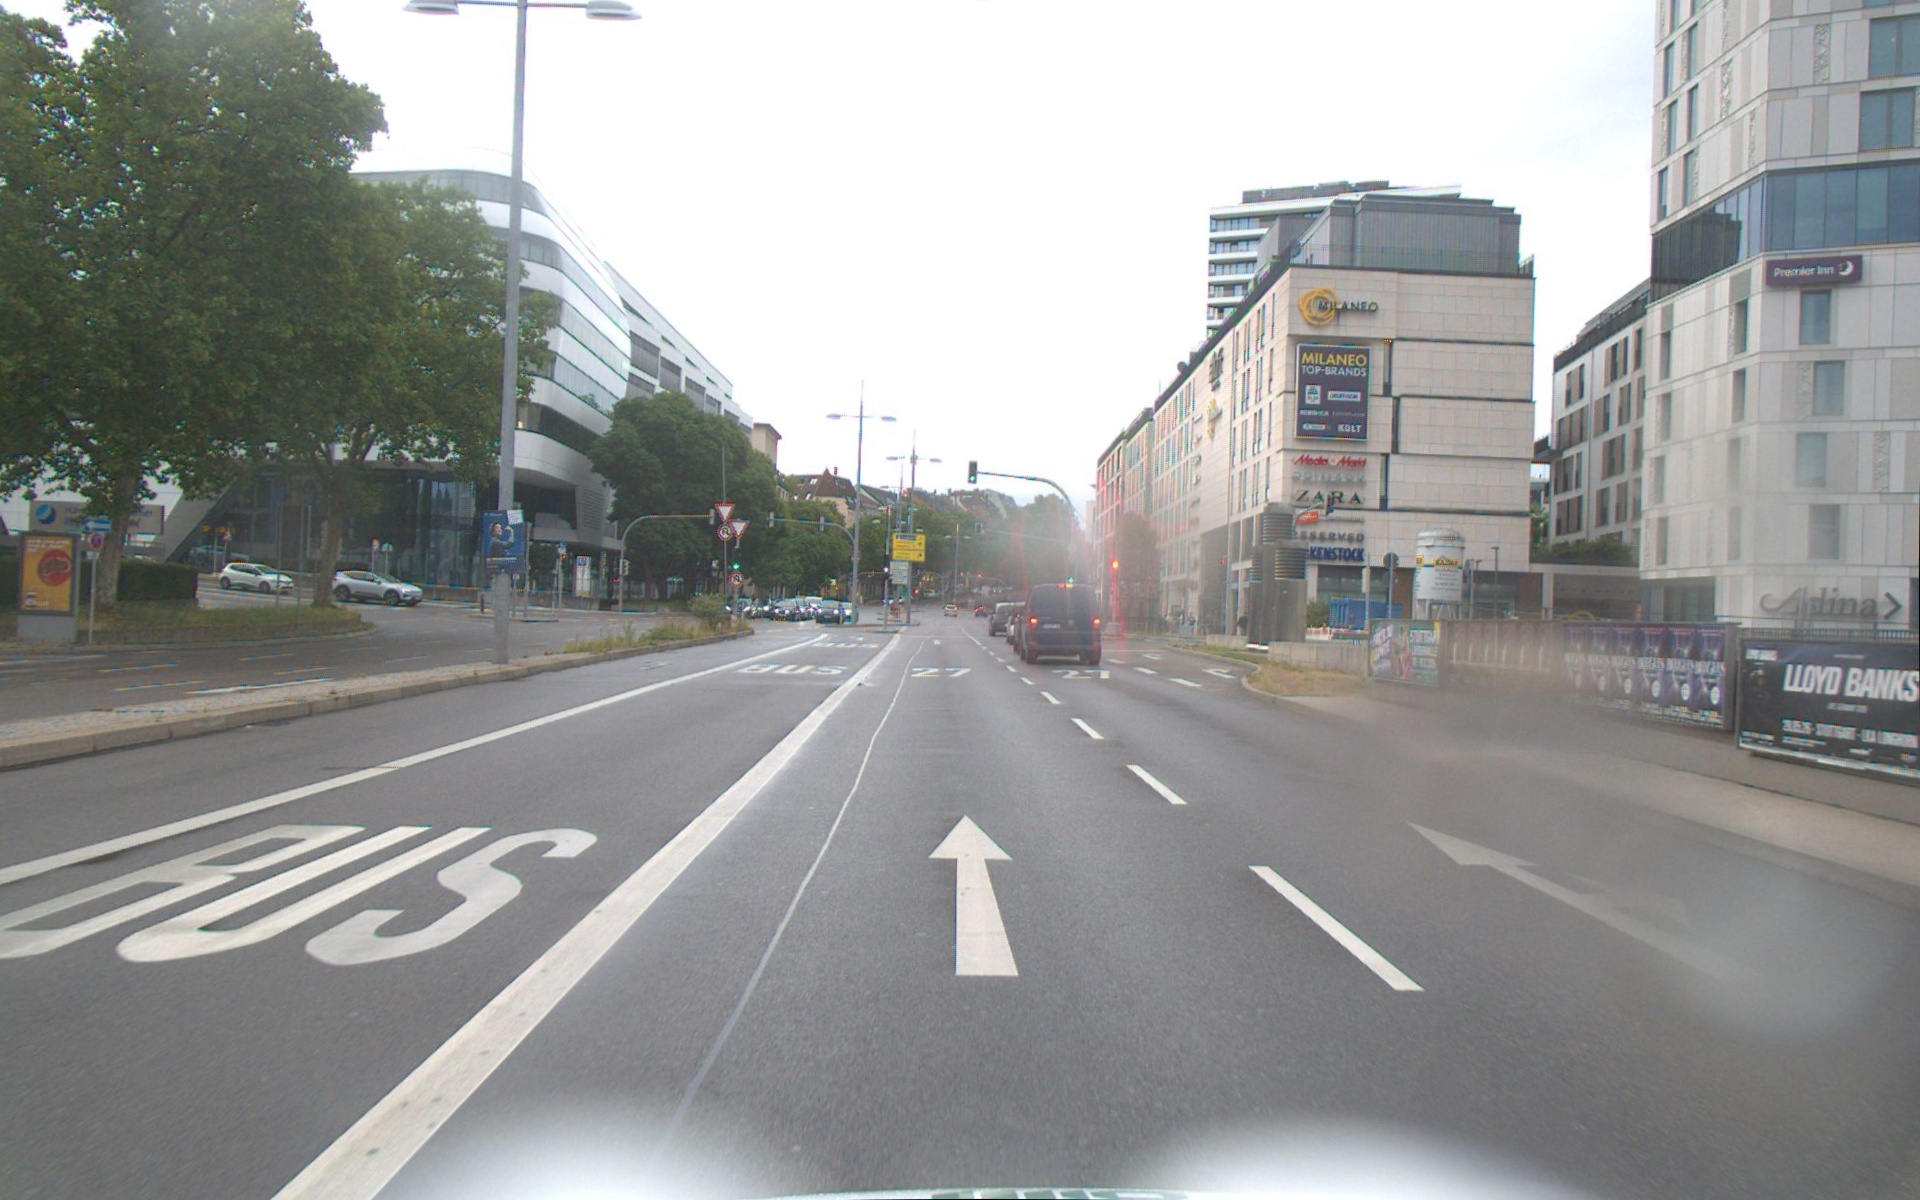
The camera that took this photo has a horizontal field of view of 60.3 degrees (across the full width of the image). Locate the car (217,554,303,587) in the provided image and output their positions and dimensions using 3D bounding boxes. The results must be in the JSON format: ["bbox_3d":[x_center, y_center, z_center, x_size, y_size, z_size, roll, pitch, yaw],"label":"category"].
[{"bbox_3d":[-37.647,-1.582,89.022,3.902,1.660,1.896,1,-1,16],"label":"car"}]

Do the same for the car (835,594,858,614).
[{"bbox_3d":[-8.947,0.335,130.389,1.507,1.503,3.695,1,-1,0],"label":"car"}]

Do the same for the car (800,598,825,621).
[{"bbox_3d":[-12.084,0.768,135.313,1.707,1.779,3.539,1,-1,0],"label":"car"}]

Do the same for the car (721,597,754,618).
[{"bbox_3d":[-15.280,0.510,113.729,1.707,1.352,4.225,1,-1,0],"label":"car"}]

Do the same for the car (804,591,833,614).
[{"bbox_3d":[-9.670,0.180,113.265,1.707,1.470,3.394,1,-1,0],"label":"car"}]

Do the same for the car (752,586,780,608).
[{"bbox_3d":[-14.924,-0.212,127.183,1.707,1.586,3.539,1,-1,0],"label":"car"}]

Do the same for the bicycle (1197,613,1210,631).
[{"bbox_3d":[14.285,1.283,96.992,0.440,1.033,1.742,1,-1,-1],"label":"bicycle"}]

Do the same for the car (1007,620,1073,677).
[{"bbox_3d":[2.412,1.444,50.891,1.754,1.533,4.338,1,1,-1],"label":"car"}]

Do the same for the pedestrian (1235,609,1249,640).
[{"bbox_3d":[15.452,1.354,90.737,0.608,1.701,0.824,1,-1,0],"label":"pedestrian"}]

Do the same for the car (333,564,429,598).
[{"bbox_3d":[-30.226,-1.006,86.393,4.406,1.660,1.896,1,-1,16],"label":"car"}]

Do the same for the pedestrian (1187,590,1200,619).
[{"bbox_3d":[13.668,0.263,96.917,0.600,1.639,0.818,1,-1,0],"label":"pedestrian"}]

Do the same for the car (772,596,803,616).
[{"bbox_3d":[-11.916,0.395,114.330,1.708,1.279,3.539,2,1,0],"label":"car"}]

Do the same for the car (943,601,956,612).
[{"bbox_3d":[-1.504,0.923,240.169,1.705,1.558,3.812,1,0,-3],"label":"car"}]

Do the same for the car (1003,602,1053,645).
[{"bbox_3d":[2.516,0.880,62.213,1.689,1.558,3.813,1,-1,0],"label":"car"}]

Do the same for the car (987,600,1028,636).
[{"bbox_3d":[2.149,0.826,74.919,1.704,1.558,3.813,1,-1,0],"label":"car"}]

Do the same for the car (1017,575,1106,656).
[{"bbox_3d":[2.567,0.330,43.007,1.991,1.915,5.042,-1,1,0],"label":"car"}]

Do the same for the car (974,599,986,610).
[{"bbox_3d":[2.993,0.698,252.500,1.704,1.558,3.813,1,-1,0],"label":"car"}]

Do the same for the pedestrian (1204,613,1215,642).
[{"bbox_3d":[14.627,1.613,96.892,0.539,1.639,0.698,1,-1,0],"label":"pedestrian"}]
